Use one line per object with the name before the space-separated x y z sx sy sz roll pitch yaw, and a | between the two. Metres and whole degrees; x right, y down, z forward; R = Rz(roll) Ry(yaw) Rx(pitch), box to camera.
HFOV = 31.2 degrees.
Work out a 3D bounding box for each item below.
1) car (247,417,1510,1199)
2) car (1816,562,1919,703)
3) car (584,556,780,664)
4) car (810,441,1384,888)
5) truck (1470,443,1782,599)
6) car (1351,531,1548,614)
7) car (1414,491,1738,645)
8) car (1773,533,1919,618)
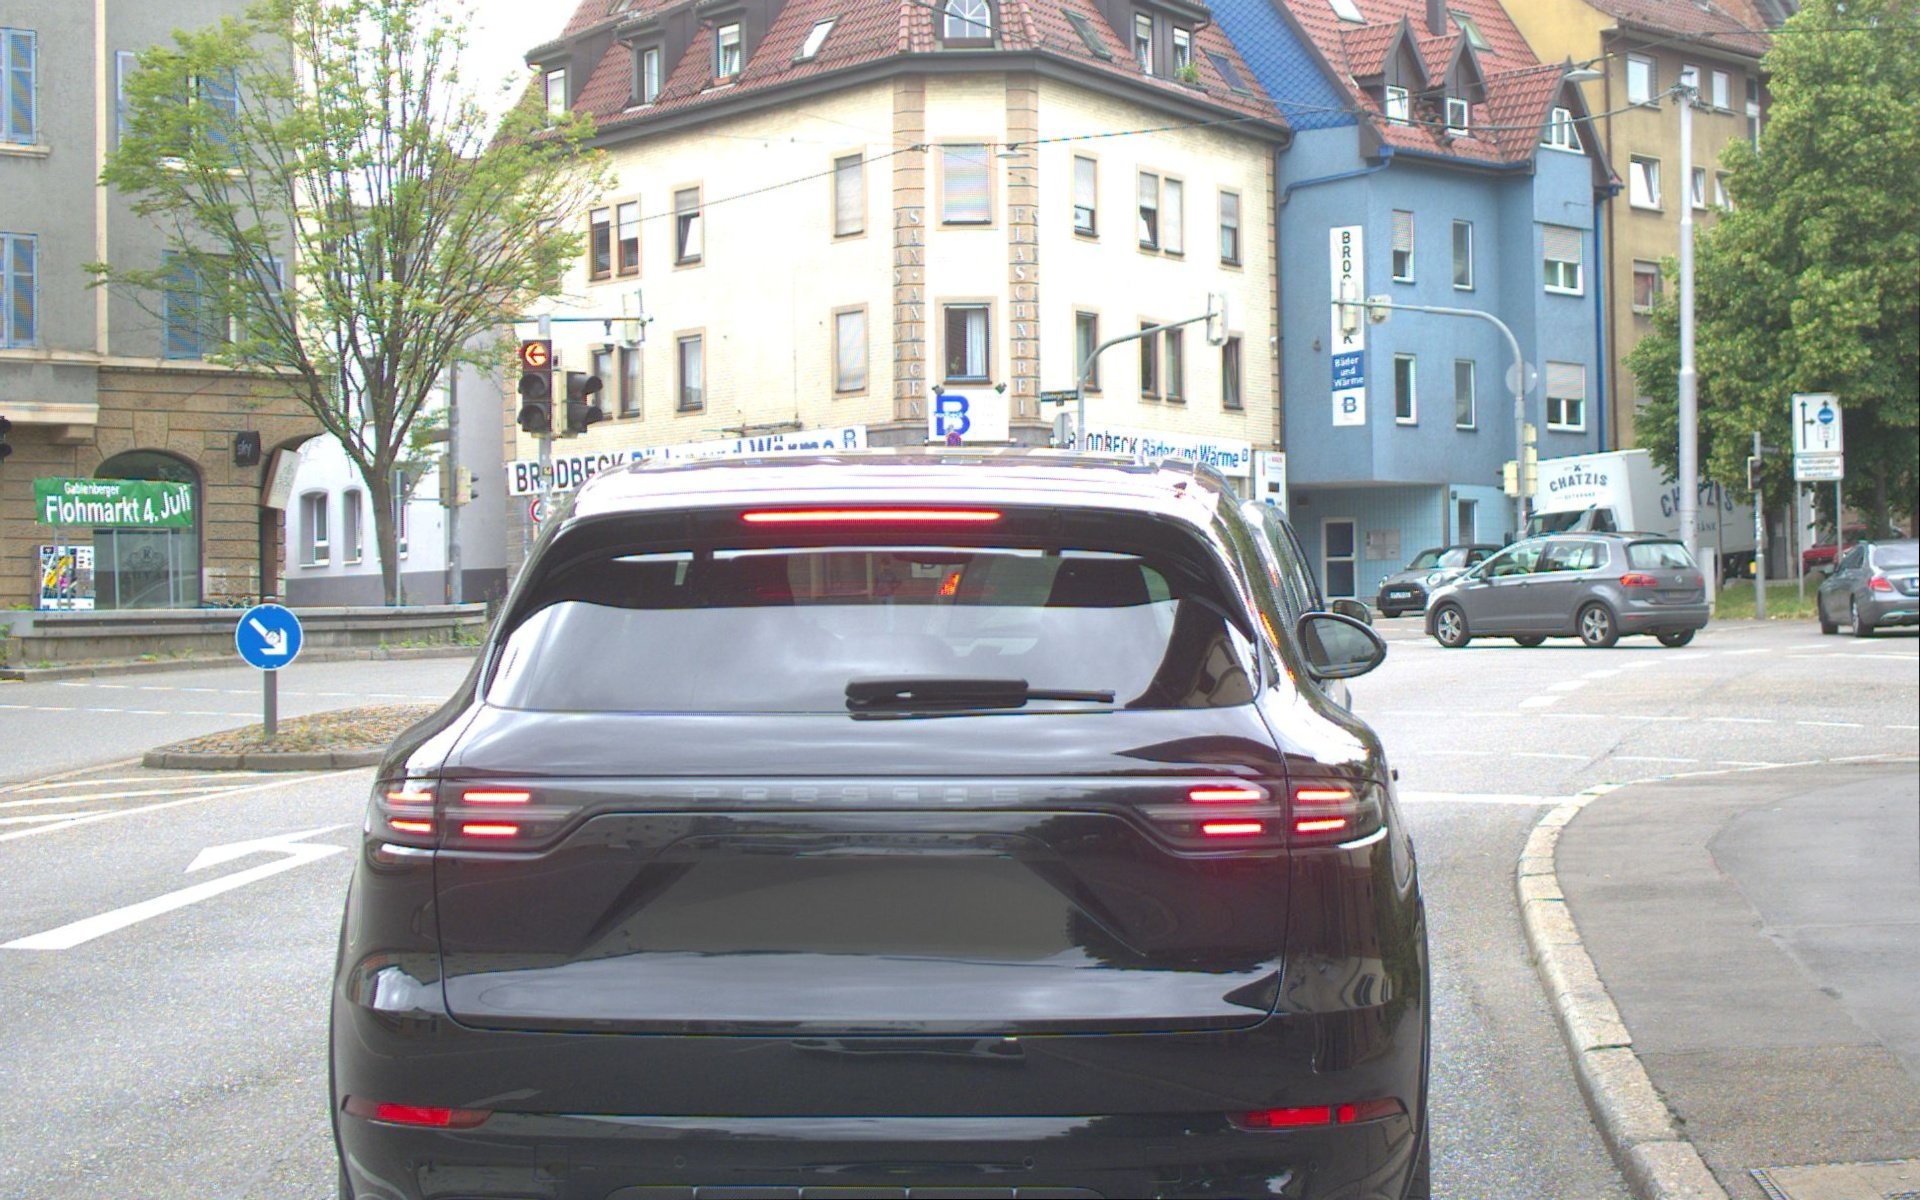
car | -0.235 0.498 7.399 1.978 1.678 4.001 0 2 -3
car | 14.162 0.481 51.408 1.994 2.007 3.999 1 0 5
car | -4.236 0.147 53.004 1.890 1.574 3.967 -1 0 13
car | 0.750 0.217 15.061 1.994 1.678 3.998 0 1 10
truck | 15.360 -1.756 78.727 2.880 3.328 8.772 2 1 41
car | 10.241 -0.580 71.809 3.989 1.678 1.999 -1 1 -42
car | 8.445 -0.439 47.368 1.994 2.007 3.998 1 0 -41
car | 22.312 -0.596 86.143 1.999 2.007 3.990 2 1 43
